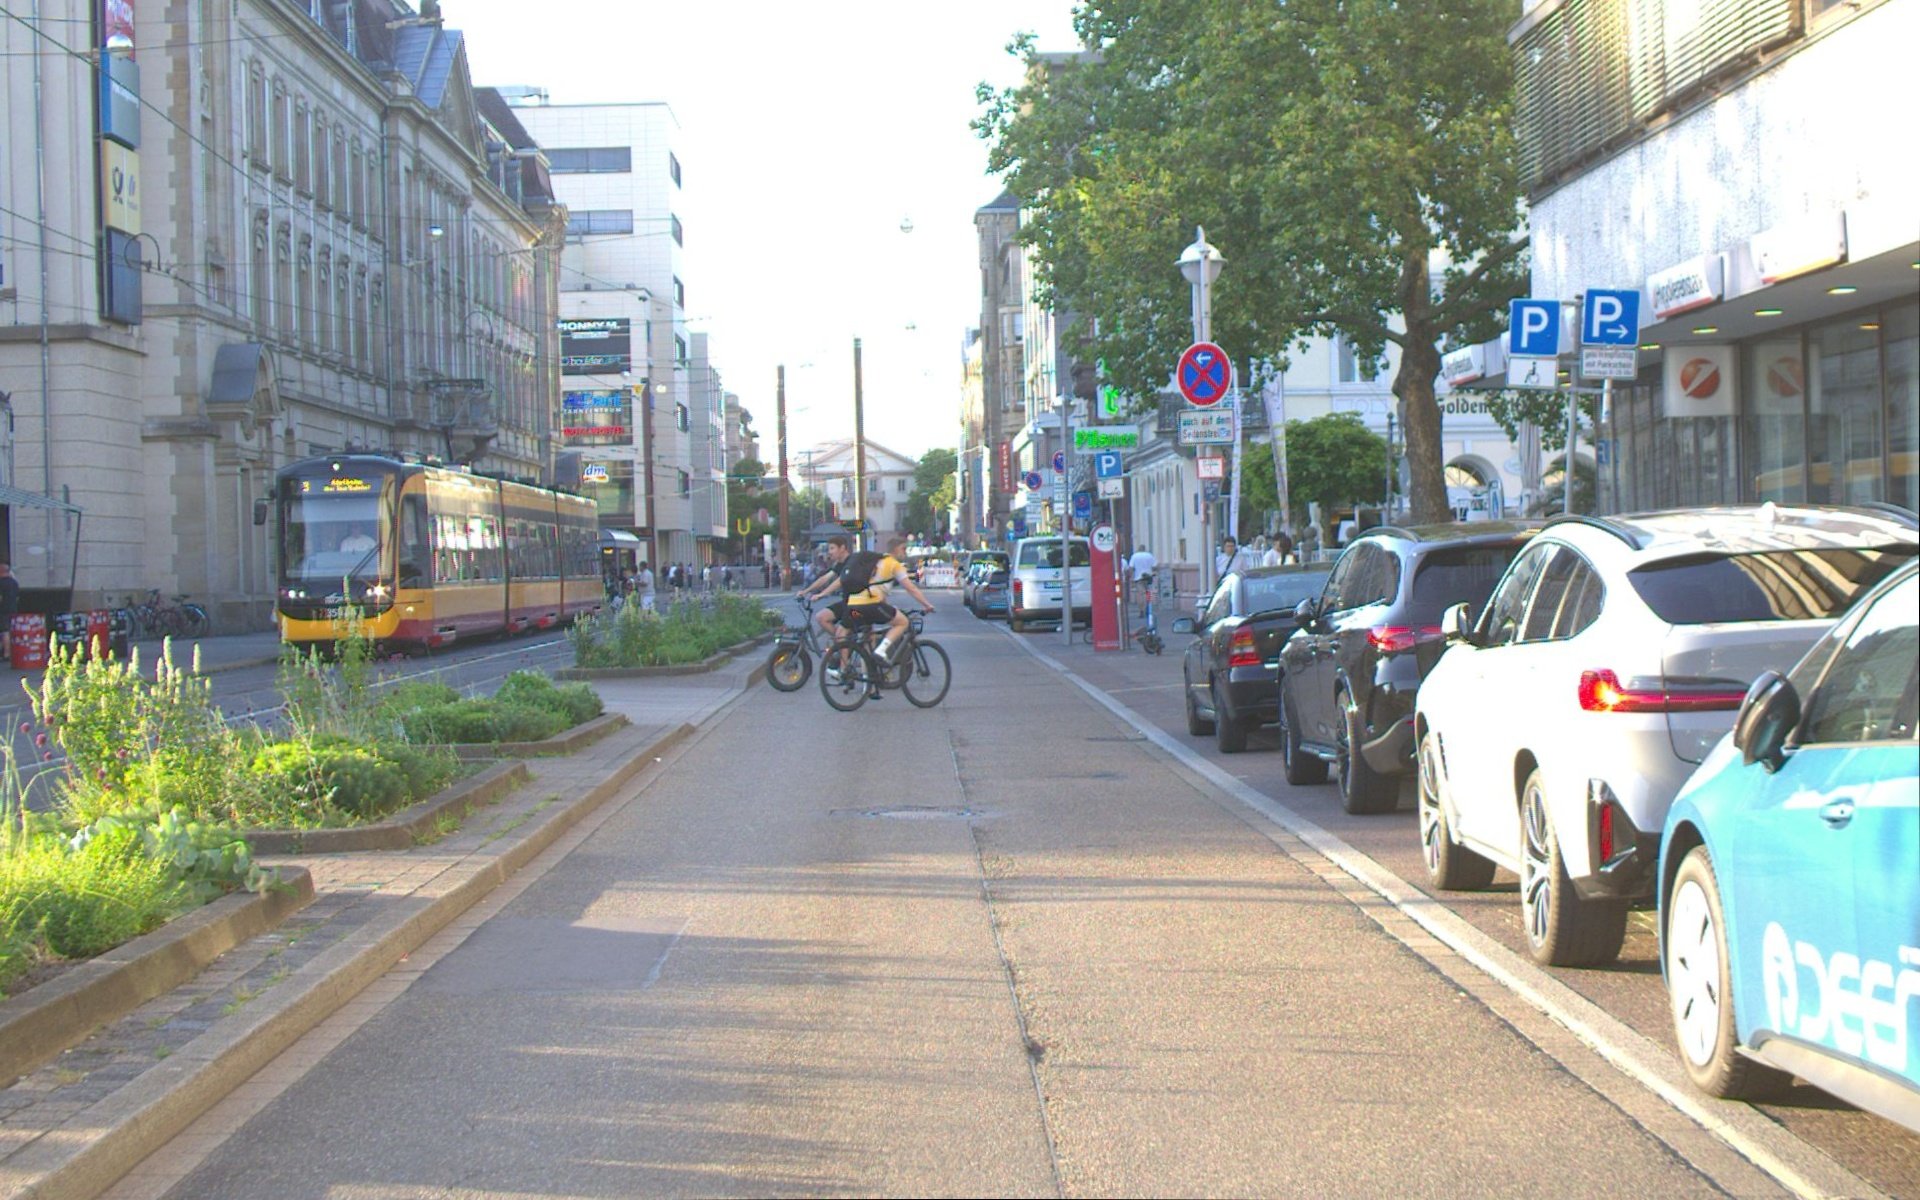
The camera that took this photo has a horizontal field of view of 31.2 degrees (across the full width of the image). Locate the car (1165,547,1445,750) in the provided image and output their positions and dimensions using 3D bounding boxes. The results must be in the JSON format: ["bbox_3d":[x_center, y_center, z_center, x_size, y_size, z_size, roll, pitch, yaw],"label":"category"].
[{"bbox_3d":[2.683,0.332,27.647,1.655,1.375,4.341,-5,1,-1],"label":"car"}]

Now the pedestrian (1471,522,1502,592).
[{"bbox_3d":[9.520,-0.776,62.149,0.474,1.237,0.539,-2,-1,14],"label":"pedestrian"}]

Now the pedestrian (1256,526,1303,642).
[{"bbox_3d":[4.788,-0.237,51.530,0.614,1.711,0.662,-1,-1,1],"label":"pedestrian"}]

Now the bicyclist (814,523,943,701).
[{"bbox_3d":[-0.834,0.112,35.028,0.929,1.770,0.971,-2,1,-30],"label":"bicyclist"}]

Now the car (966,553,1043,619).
[{"bbox_3d":[1.233,-0.395,97.327,1.993,1.755,4.421,-1,0,-1],"label":"car"}]

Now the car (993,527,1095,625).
[{"bbox_3d":[1.742,-0.504,72.565,1.915,1.975,4.421,-1,0,-1],"label":"car"}]

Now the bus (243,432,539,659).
[{"bbox_3d":[-10.329,-1.008,64.661,2.822,3.639,17.073,-1,1,-1],"label":"bus"}]

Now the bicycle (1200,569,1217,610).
[{"bbox_3d":[5.637,-0.225,77.932,0.250,0.899,1.374,-1,-1,-1],"label":"bicycle"}]

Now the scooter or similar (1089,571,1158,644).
[{"bbox_3d":[2.819,0.132,59.353,1.125,1.212,0.300,-3,0,1],"label":"scooter or similar"}]

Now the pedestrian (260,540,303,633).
[{"bbox_3d":[-13.722,-0.270,69.516,0.693,1.841,0.662,-1,-1,0],"label":"pedestrian"}]

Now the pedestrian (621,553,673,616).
[{"bbox_3d":[-7.637,-0.378,83.879,0.718,1.509,1.035,-2,-1,43],"label":"pedestrian"}]

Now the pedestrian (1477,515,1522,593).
[{"bbox_3d":[9.170,-0.773,58.388,0.645,1.281,0.740,-2,-1,15],"label":"pedestrian"}]

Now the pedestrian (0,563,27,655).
[{"bbox_3d":[-17.019,0.158,61.203,0.714,1.640,0.660,0,0,-22],"label":"pedestrian"}]

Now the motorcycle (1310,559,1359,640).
[{"bbox_3d":[5.578,0.002,51.286,0.455,1.154,2.031,-1,-1,-1],"label":"motorcycle"}]

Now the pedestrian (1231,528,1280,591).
[{"bbox_3d":[6.397,-0.870,74.457,0.902,1.301,0.967,-1,-1,-1],"label":"pedestrian"}]

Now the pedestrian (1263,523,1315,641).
[{"bbox_3d":[4.862,-0.266,50.800,0.678,1.711,0.654,-2,-1,2],"label":"pedestrian"}]

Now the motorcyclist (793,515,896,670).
[{"bbox_3d":[-1.383,-0.078,40.988,1.001,1.807,0.960,-1,-1,-14],"label":"motorcyclist"}]

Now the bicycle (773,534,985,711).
[{"bbox_3d":[-0.806,0.210,35.060,2.362,1.734,0.602,-2,1,-44],"label":"bicycle"}]

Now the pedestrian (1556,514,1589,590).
[{"bbox_3d":[10.548,-0.816,59.209,0.474,1.281,0.539,-2,-1,15],"label":"pedestrian"}]

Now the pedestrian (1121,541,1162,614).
[{"bbox_3d":[4.449,-0.539,84.307,0.786,1.745,0.895,-1,-1,-8],"label":"pedestrian"}]

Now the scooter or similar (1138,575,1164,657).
[{"bbox_3d":[2.886,0.237,51.846,0.315,1.217,1.272,-1,1,6],"label":"scooter or similar"}]

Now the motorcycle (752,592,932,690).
[{"bbox_3d":[-1.410,0.488,40.944,2.043,1.120,0.568,-1,-1,-15],"label":"motorcycle"}]

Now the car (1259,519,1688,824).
[{"bbox_3d":[2.954,0.331,20.721,1.775,1.533,4.579,-1,2,-1],"label":"car"}]

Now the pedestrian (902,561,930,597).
[{"bbox_3d":[-2.400,-1.161,187.413,1.229,1.922,1.022,-1,1,-16],"label":"pedestrian"}]

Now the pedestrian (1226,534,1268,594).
[{"bbox_3d":[6.411,-0.809,76.824,0.822,1.301,0.870,-1,-1,-1],"label":"pedestrian"}]

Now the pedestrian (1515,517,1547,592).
[{"bbox_3d":[9.907,-0.788,59.644,0.474,1.281,0.539,-2,-1,15],"label":"pedestrian"}]

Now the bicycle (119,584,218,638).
[{"bbox_3d":[-17.813,0.253,77.431,2.096,1.144,0.575,-1,-1,-5],"label":"bicycle"}]

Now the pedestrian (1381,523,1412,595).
[{"bbox_3d":[8.054,-0.759,63.490,0.474,1.300,0.539,-2,-1,14],"label":"pedestrian"}]

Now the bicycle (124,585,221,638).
[{"bbox_3d":[-17.887,0.264,78.097,2.077,1.144,0.575,-1,-1,-5],"label":"bicycle"}]

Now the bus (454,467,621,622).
[{"bbox_3d":[-10.597,-1.300,87.411,2.822,3.600,11.823,-1,0,-1],"label":"bus"}]

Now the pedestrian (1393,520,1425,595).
[{"bbox_3d":[8.057,-0.753,61.642,0.474,1.325,0.539,-2,-1,14],"label":"pedestrian"}]

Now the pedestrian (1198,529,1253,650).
[{"bbox_3d":[4.032,-0.158,52.228,0.714,1.797,0.824,-2,0,2],"label":"pedestrian"}]

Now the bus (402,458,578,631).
[{"bbox_3d":[-10.464,-1.242,77.315,2.822,3.612,8.289,-1,1,-1],"label":"bus"}]

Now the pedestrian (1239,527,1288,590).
[{"bbox_3d":[6.477,-0.886,73.442,0.902,1.309,0.967,-1,-1,-1],"label":"pedestrian"}]

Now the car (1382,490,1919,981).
[{"bbox_3d":[2.868,0.404,13.569,1.816,1.580,4.723,-1,1,0],"label":"car"}]

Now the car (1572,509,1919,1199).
[{"bbox_3d":[2.865,0.553,8.137,1.809,1.546,4.837,-1,1,-2],"label":"car"}]
